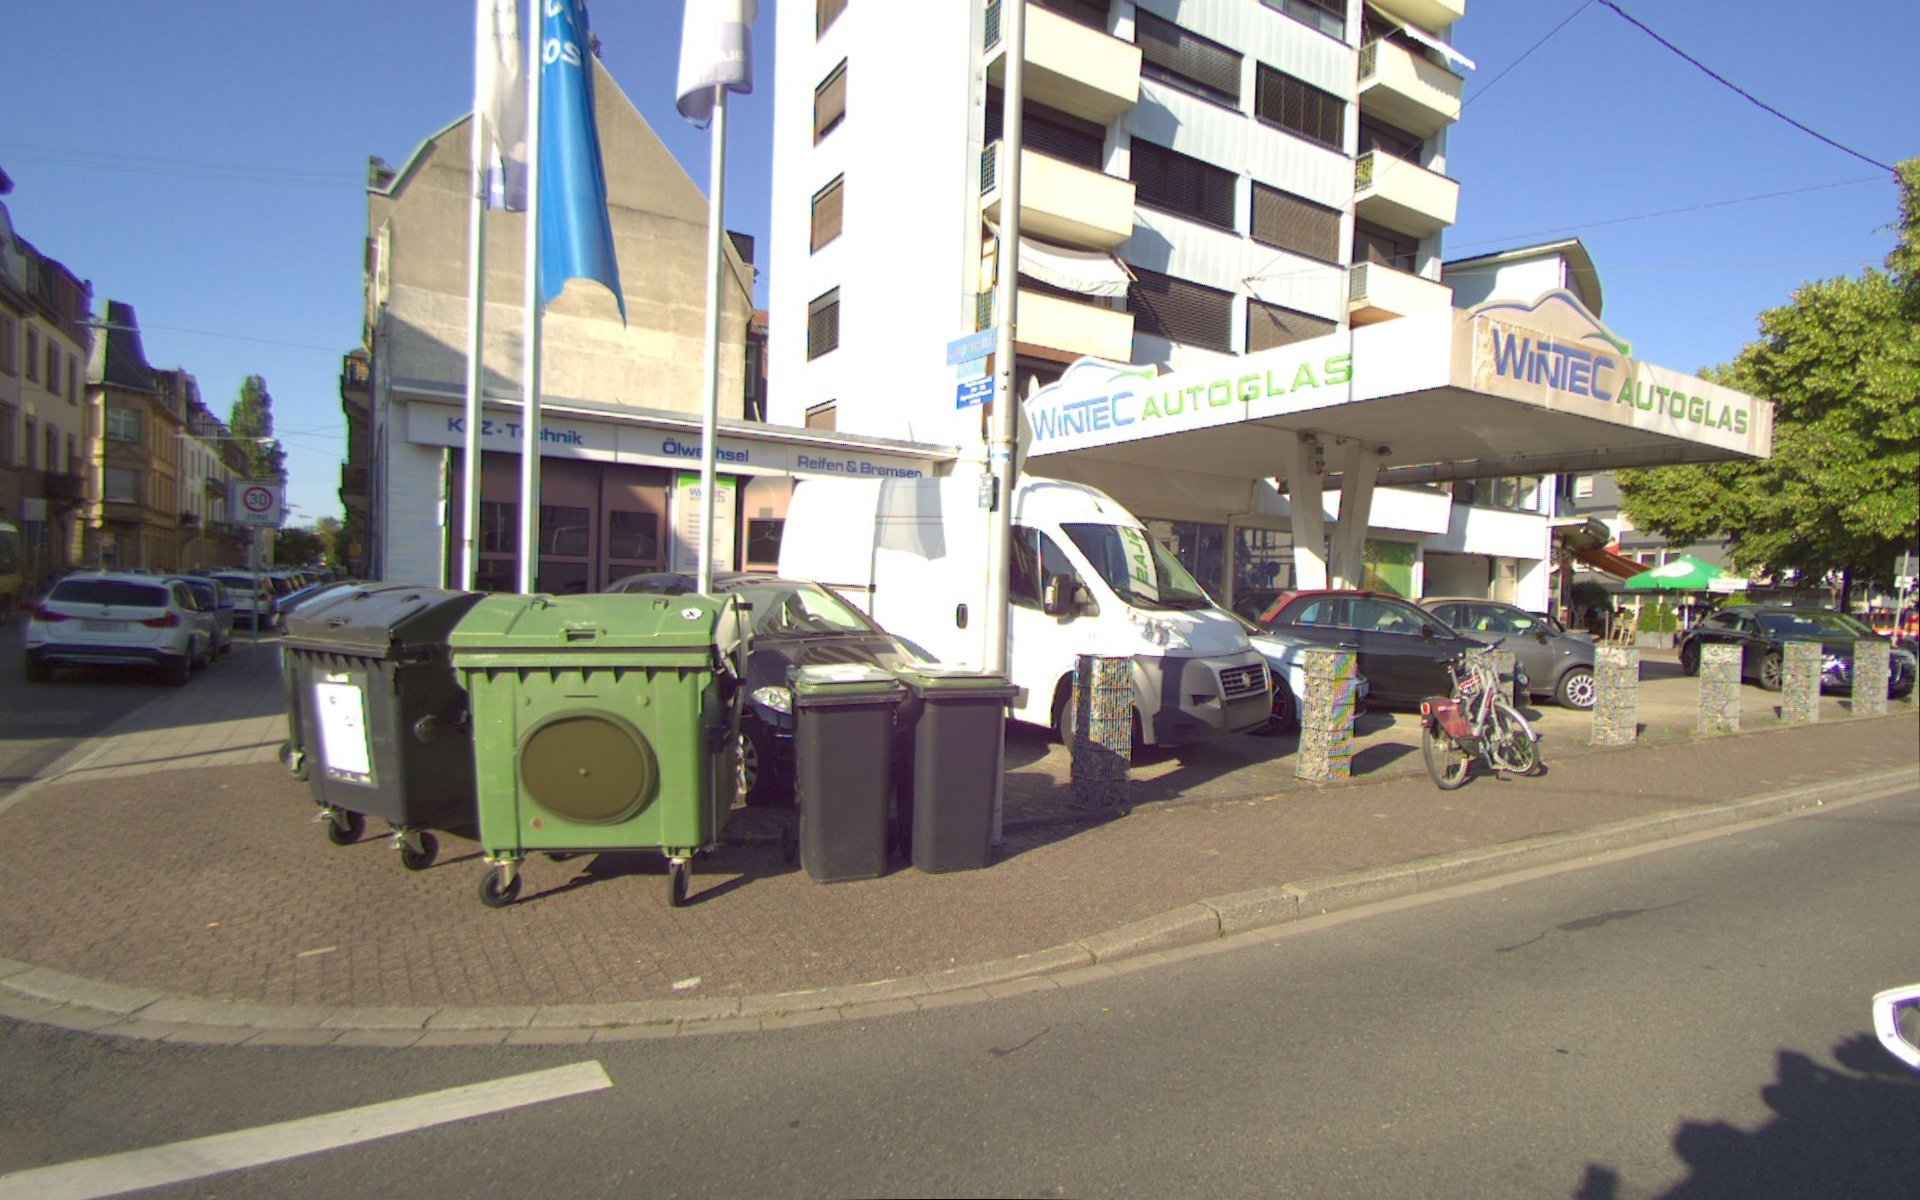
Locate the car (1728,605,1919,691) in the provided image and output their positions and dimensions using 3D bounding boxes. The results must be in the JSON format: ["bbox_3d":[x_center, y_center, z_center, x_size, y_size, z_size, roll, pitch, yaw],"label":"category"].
[{"bbox_3d":[18.405,0.941,21.283,1.617,1.474,4.301,2,2,12],"label":"car"}]

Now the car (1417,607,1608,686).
[{"bbox_3d":[10.667,0.817,19.294,4.097,1.301,1.576,0,2,-35],"label":"car"}]

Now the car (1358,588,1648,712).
[{"bbox_3d":[7.781,0.667,14.682,3.325,1.589,1.623,2,1,8],"label":"car"}]

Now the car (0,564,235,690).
[{"bbox_3d":[-12.534,0.347,15.242,1.978,1.545,3.967,6,-2,-30],"label":"car"}]

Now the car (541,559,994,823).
[{"bbox_3d":[-1.767,0.508,8.257,1.761,1.589,3.946,0,3,-44],"label":"car"}]

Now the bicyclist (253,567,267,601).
[{"bbox_3d":[-37.142,-0.839,53.295,0.553,1.791,0.577,1,1,-34],"label":"bicyclist"}]

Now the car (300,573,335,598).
[{"bbox_3d":[-48.398,-1.121,75.729,1.978,1.634,3.967,6,-2,-30],"label":"car"}]

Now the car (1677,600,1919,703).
[{"bbox_3d":[15.059,0.826,18.242,1.872,1.474,4.314,2,2,15],"label":"car"}]

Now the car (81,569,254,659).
[{"bbox_3d":[-15.160,0.231,19.458,1.978,1.426,3.967,6,-2,-30],"label":"car"}]

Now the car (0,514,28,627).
[{"bbox_3d":[-24.257,-0.737,23.761,2.115,2.763,6.072,1,0,-32],"label":"car"}]

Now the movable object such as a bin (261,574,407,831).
[{"bbox_3d":[-4.133,0.587,6.604,0.697,1.503,1.210,-3,3,-35],"label":"movable object such as a bin"}]

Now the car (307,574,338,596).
[{"bbox_3d":[-54.865,-1.292,86.544,1.978,1.634,3.967,6,-2,-30],"label":"car"}]

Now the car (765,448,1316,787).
[{"bbox_3d":[0.582,0.041,9.802,4.992,2.503,2.100,3,2,38],"label":"car"}]

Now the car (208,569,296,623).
[{"bbox_3d":[-23.980,-0.159,34.157,1.978,1.545,3.967,6,-2,-30],"label":"car"}]

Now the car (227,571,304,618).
[{"bbox_3d":[-26.426,-0.225,38.355,1.978,1.545,3.967,6,-2,-30],"label":"car"}]

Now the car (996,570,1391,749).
[{"bbox_3d":[2.562,0.520,11.257,3.929,1.589,1.769,3,2,30],"label":"car"}]

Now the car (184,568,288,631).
[{"bbox_3d":[-21.039,-0.043,29.352,1.978,1.545,3.967,6,-2,-30],"label":"car"}]

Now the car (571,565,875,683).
[{"bbox_3d":[-3.624,0.318,15.594,4.268,1.589,1.757,1,2,-32],"label":"car"}]

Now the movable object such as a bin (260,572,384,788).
[{"bbox_3d":[-4.927,0.546,7.735,0.697,1.503,1.170,-3,3,-35],"label":"movable object such as a bin"}]

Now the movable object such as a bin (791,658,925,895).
[{"bbox_3d":[-0.553,0.885,5.292,0.576,1.077,0.659,-1,4,-18],"label":"movable object such as a bin"}]

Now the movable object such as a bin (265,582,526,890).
[{"bbox_3d":[-3.117,0.666,5.552,1.200,1.503,0.702,0,3,31],"label":"movable object such as a bin"}]

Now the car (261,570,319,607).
[{"bbox_3d":[-32.580,-0.567,48.947,1.978,1.545,3.967,6,-2,-30],"label":"car"}]

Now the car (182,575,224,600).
[{"bbox_3d":[-49.022,-0.834,65.116,1.582,1.428,3.967,6,-2,-30],"label":"car"}]

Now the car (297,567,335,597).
[{"bbox_3d":[-45.839,-1.293,71.580,1.978,1.867,3.967,6,-2,-30],"label":"car"}]

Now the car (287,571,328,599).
[{"bbox_3d":[-43.377,-0.995,66.825,1.978,1.634,3.967,6,-2,-30],"label":"car"}]

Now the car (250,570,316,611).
[{"bbox_3d":[-29.248,-0.430,43.522,1.978,1.545,3.967,6,-2,-30],"label":"car"}]

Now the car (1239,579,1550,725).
[{"bbox_3d":[5.325,0.589,12.727,3.325,1.589,1.623,2,1,13],"label":"car"}]

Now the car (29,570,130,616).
[{"bbox_3d":[-32.619,-0.288,37.349,1.978,1.426,3.967,6,-2,-30],"label":"car"}]

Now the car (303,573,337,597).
[{"bbox_3d":[-50.703,-1.190,79.586,1.978,1.634,3.967,6,-2,-30],"label":"car"}]

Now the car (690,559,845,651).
[{"bbox_3d":[-4.270,0.032,21.804,1.754,1.733,4.274,0,2,-34],"label":"car"}]

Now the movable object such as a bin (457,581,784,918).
[{"bbox_3d":[-1.644,0.676,5.144,1.287,1.503,1.057,-1,2,-2],"label":"movable object such as a bin"}]

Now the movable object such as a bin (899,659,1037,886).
[{"bbox_3d":[0.032,0.907,5.525,0.571,1.084,0.639,-2,3,-18],"label":"movable object such as a bin"}]

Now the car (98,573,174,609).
[{"bbox_3d":[-38.106,-0.424,46.543,1.978,1.426,3.967,6,-2,-30],"label":"car"}]

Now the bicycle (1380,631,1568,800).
[{"bbox_3d":[4.222,0.870,8.192,1.766,1.193,0.717,1,1,-40],"label":"bicycle"}]
